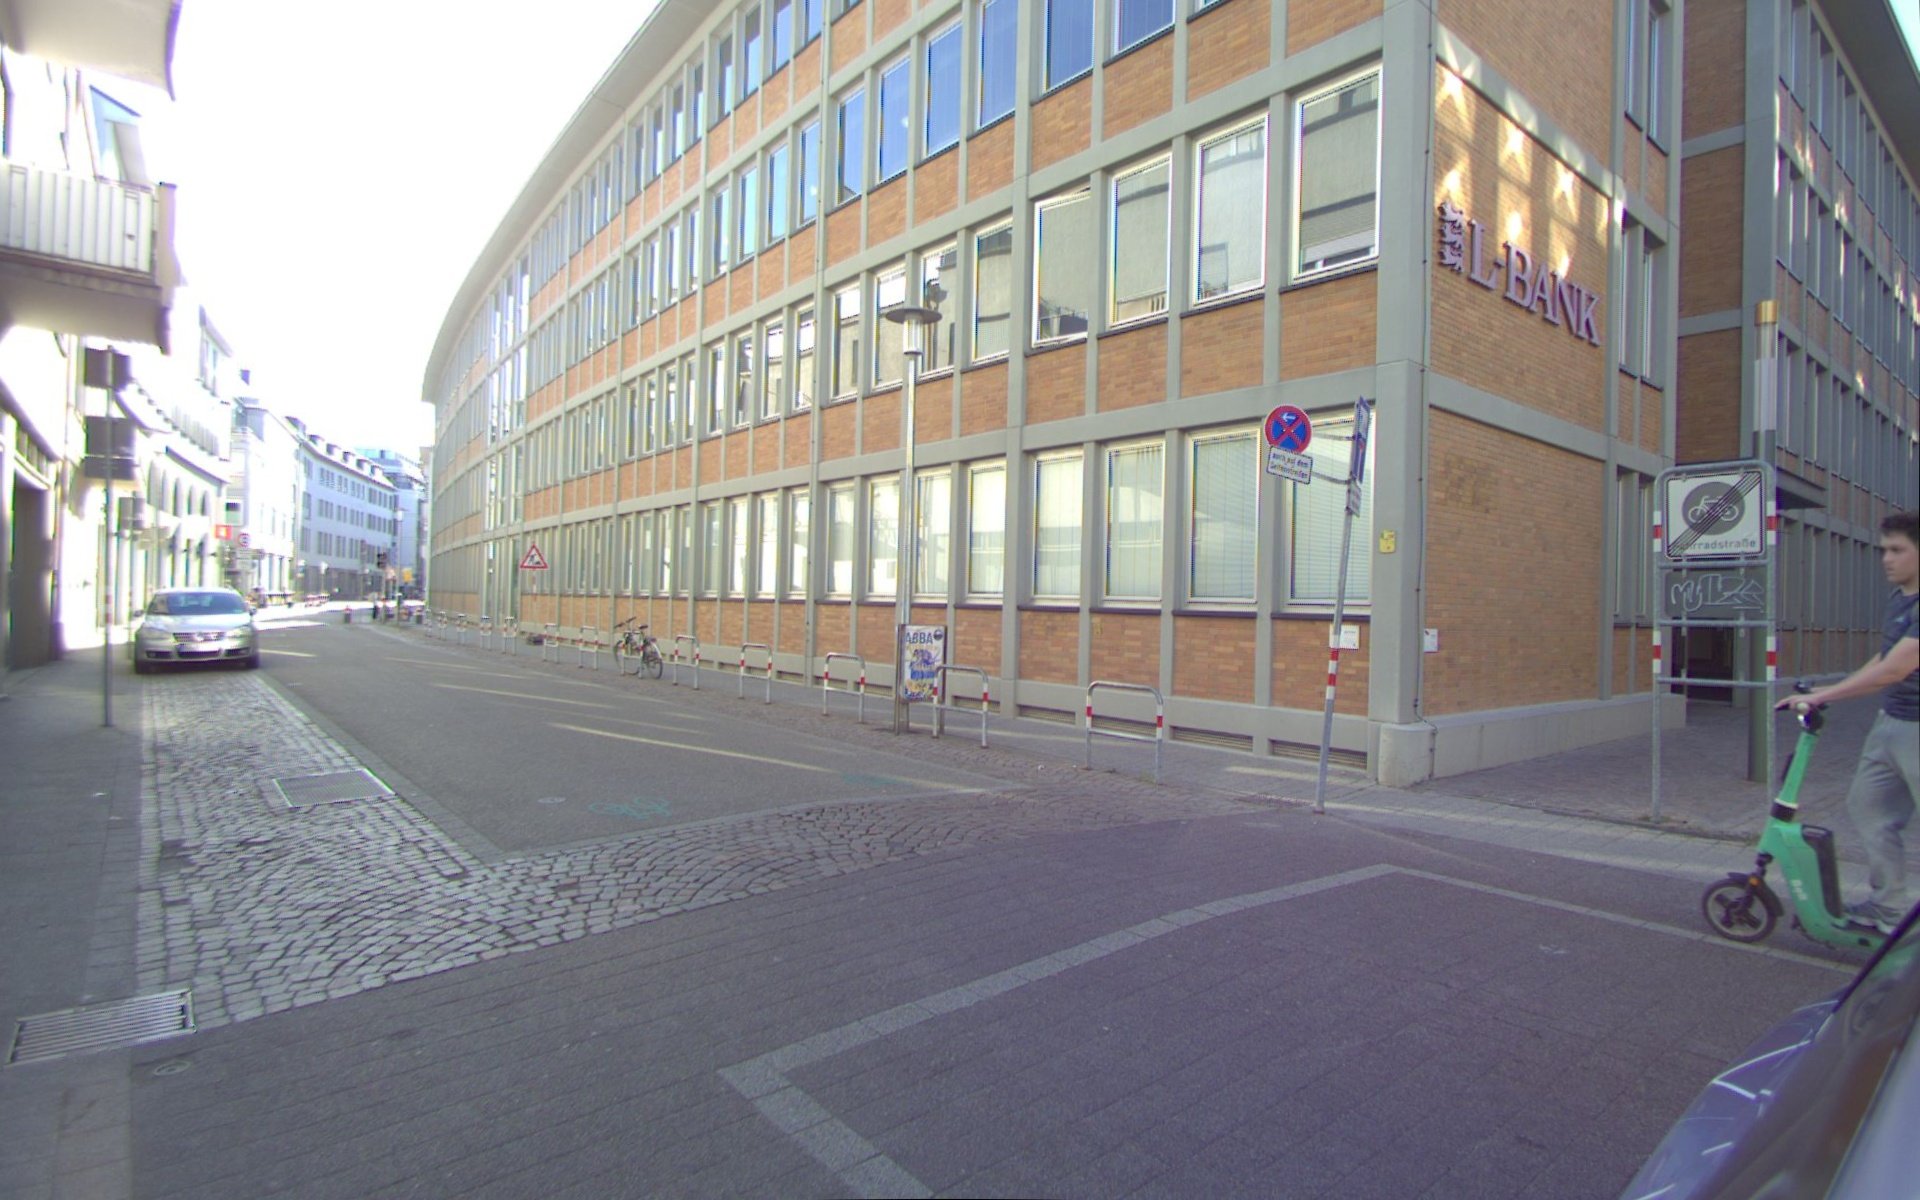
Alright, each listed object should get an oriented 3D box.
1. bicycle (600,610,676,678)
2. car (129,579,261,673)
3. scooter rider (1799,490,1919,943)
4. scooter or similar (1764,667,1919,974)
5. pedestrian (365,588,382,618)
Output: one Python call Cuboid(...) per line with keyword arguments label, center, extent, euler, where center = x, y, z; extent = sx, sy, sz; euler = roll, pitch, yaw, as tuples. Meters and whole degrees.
Cuboid(label="bicycle", center=(-5.904, 0.769, 18.476), extent=(0.627, 1.130, 1.928), euler=(1, 0, -40))
Cuboid(label="car", center=(-13.897, 0.379, 18.371), extent=(1.739, 1.488, 3.810), euler=(-1, 2, -38))
Cuboid(label="scooter rider", center=(3.987, 0.454, 4.094), extent=(0.636, 1.748, 0.703), euler=(2, 0, -32))
Cuboid(label="scooter or similar", center=(4.117, 0.928, 4.101), extent=(0.330, 1.201, 1.280), euler=(4, -1, -31))
Cuboid(label="pedestrian", center=(-28.447, 0.138, 49.072), extent=(0.647, 1.459, 0.595), euler=(1, 0, -37))
